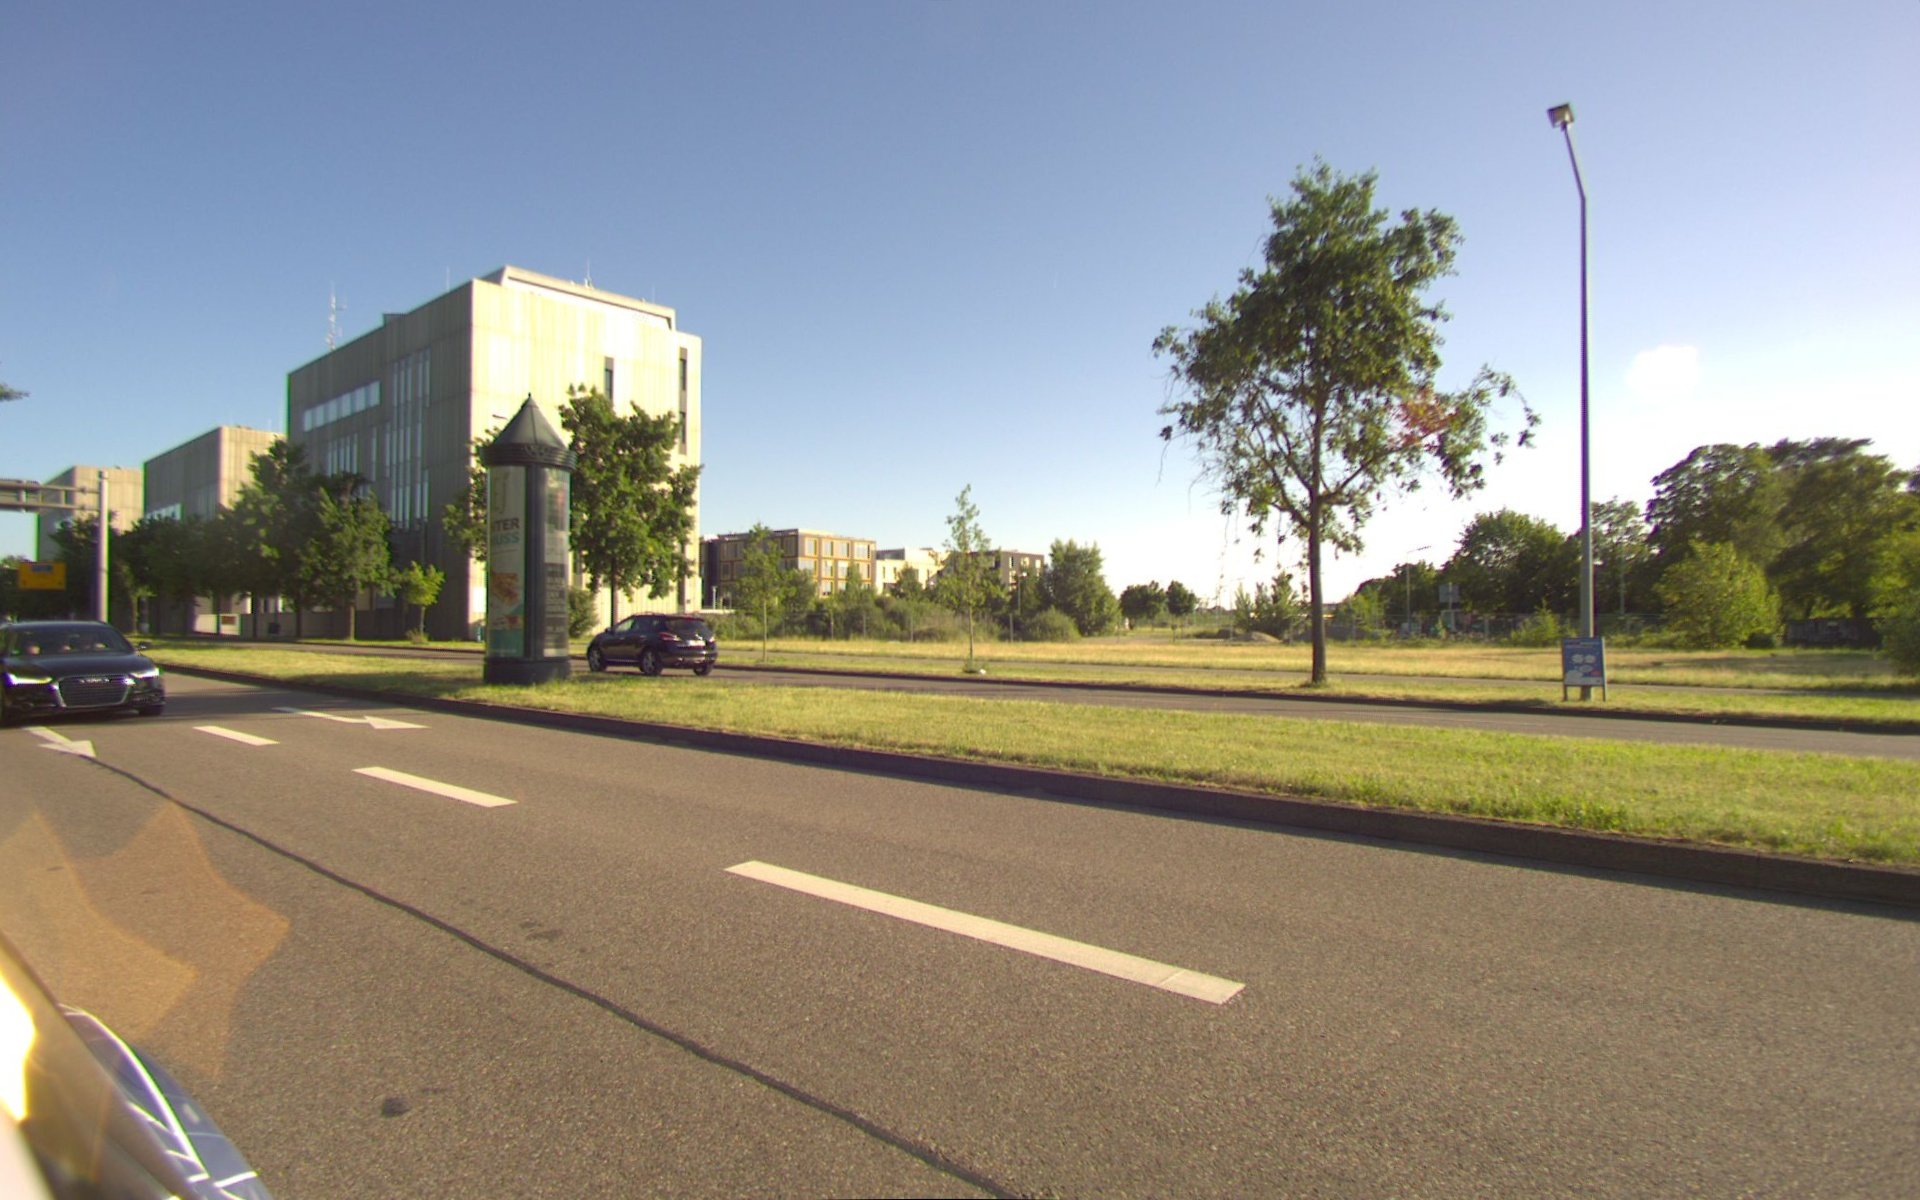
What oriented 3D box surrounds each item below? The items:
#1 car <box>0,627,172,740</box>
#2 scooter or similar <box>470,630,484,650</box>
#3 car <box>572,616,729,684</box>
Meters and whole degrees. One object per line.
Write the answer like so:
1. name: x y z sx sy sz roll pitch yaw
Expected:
1. car: -13.905 1.163 15.542 5.011 1.454 1.775 -1 -1 39
2. scooter or similar: -27.815 2.292 58.271 0.446 1.118 1.409 1 -2 -35
3. car: -8.754 1.334 28.433 4.735 1.752 1.973 -1 -2 40
